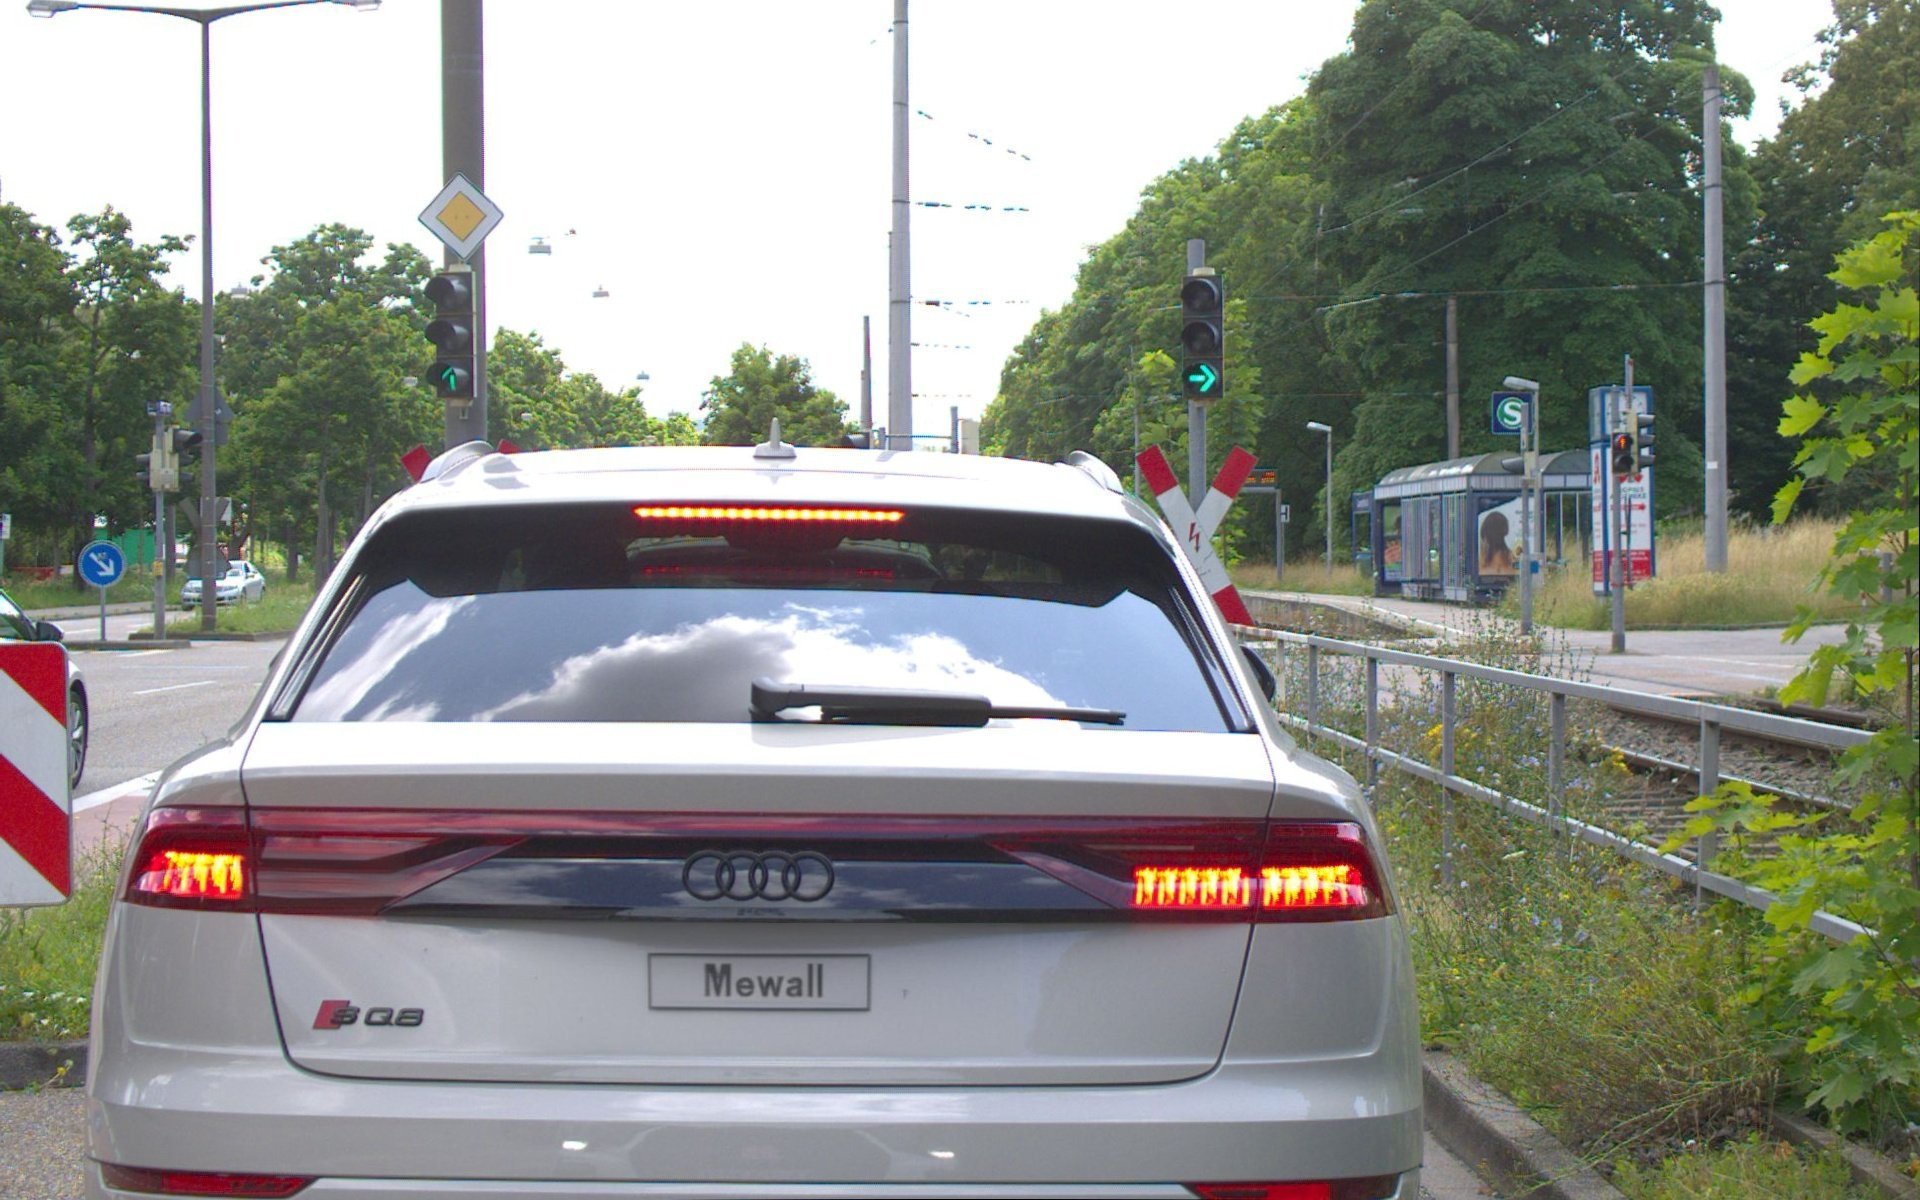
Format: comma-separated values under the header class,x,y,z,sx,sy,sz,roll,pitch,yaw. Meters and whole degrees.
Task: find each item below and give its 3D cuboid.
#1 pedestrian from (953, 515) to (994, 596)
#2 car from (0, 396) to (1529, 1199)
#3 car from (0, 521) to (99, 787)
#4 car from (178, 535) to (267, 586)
class,x,y,z,sx,sy,sz,roll,pitch,yaw
pedestrian,0.248,-0.843,65.222,0.653,1.508,0.718,-1,1,-10
car,-0.309,0.572,6.628,1.981,1.678,4.574,1,1,-1
car,-6.378,0.294,19.959,1.785,1.520,4.301,1,1,-2
car,-21.502,-1.166,100.384,1.799,1.427,4.497,-1,1,-2
